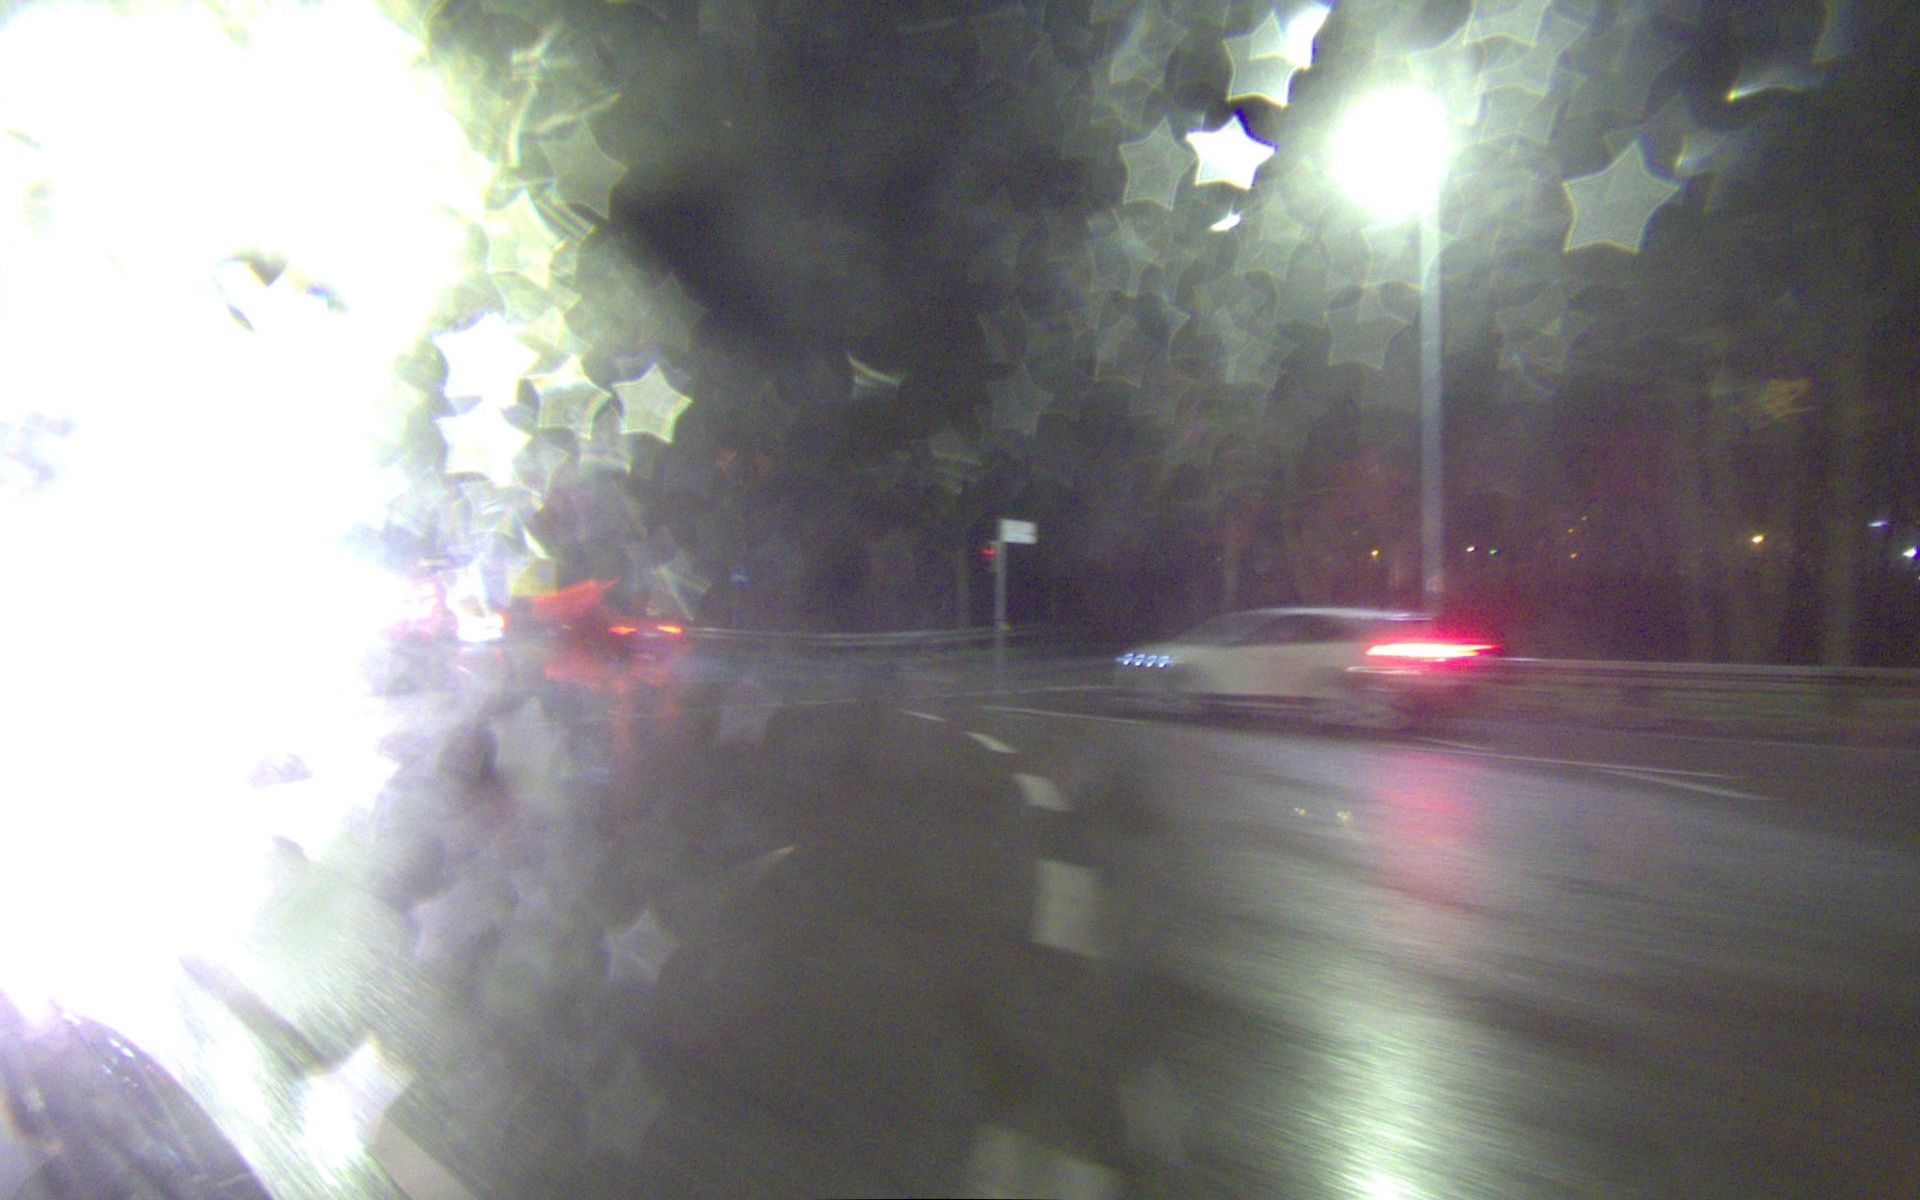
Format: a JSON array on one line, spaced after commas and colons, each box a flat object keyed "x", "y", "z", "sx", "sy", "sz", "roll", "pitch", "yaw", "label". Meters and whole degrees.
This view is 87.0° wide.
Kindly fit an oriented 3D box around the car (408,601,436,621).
[{"x": -42.308, "y": 0.860, "z": 79.655, "sx": 1.710, "sy": 1.507, "sz": 3.954, "roll": 2, "pitch": -1, "yaw": -25, "label": "car"}]

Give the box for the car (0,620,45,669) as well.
[{"x": -32.597, "y": 1.481, "z": 34.079, "sx": 1.714, "sy": 1.428, "sz": 4.153, "roll": -1, "pitch": 1, "yaw": -29, "label": "car"}]

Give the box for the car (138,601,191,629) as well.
[{"x": -48.810, "y": 0.876, "z": 62.192, "sx": 1.966, "sy": 1.610, "sz": 4.405, "roll": 0, "pitch": 1, "yaw": -30, "label": "car"}]

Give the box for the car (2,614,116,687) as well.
[{"x": -21.235, "y": 1.128, "z": 23.969, "sx": 1.581, "sy": 1.436, "sz": 3.398, "roll": -3, "pitch": 3, "yaw": -35, "label": "car"}]

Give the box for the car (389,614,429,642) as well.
[{"x": -30.838, "y": 1.540, "z": 56.542, "sx": 1.765, "sy": 1.468, "sz": 4.591, "roll": 2, "pitch": -2, "yaw": -31, "label": "car"}]

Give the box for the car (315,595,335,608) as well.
[{"x": -86.902, "y": 0.230, "z": 138.619, "sx": 1.965, "sy": 1.691, "sz": 4.013, "roll": -1, "pitch": 1, "yaw": -27, "label": "car"}]

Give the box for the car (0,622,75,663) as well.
[{"x": -39.269, "y": 1.746, "z": 42.790, "sx": 1.966, "sy": 1.610, "sz": 4.405, "roll": -1, "pitch": -1, "yaw": -30, "label": "car"}]

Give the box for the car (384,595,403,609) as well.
[{"x": -66.007, "y": 0.227, "z": 117.919, "sx": 1.822, "sy": 1.583, "sz": 3.518, "roll": 0, "pitch": -1, "yaw": -28, "label": "car"}]

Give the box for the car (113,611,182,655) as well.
[{"x": -30.737, "y": 1.207, "z": 38.368, "sx": 1.580, "sy": 1.436, "sz": 3.399, "roll": -3, "pitch": 3, "yaw": -32, "label": "car"}]

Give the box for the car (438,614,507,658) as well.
[{"x": -17.298, "y": 1.259, "z": 35.833, "sx": 1.544, "sy": 1.444, "sz": 3.502, "roll": -1, "pitch": -1, "yaw": -37, "label": "car"}]

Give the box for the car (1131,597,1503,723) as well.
[{"x": 4.449, "y": 0.744, "z": 13.004, "sx": 4.143, "sy": 1.363, "sz": 1.787, "roll": -2, "pitch": -5, "yaw": 43, "label": "car"}]

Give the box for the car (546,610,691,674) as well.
[{"x": -8.698, "y": 1.029, "z": 25.584, "sx": 1.759, "sy": 1.471, "sz": 4.481, "roll": 0, "pitch": -2, "yaw": -44, "label": "car"}]

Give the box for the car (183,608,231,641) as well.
[{"x": -38.438, "y": 1.230, "z": 51.709, "sx": 1.580, "sy": 1.436, "sz": 3.399, "roll": -3, "pitch": 3, "yaw": -32, "label": "car"}]

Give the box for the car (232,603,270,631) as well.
[{"x": -50.412, "y": 1.162, "z": 72.015, "sx": 1.936, "sy": 1.807, "sz": 4.012, "roll": -1, "pitch": 1, "yaw": -32, "label": "car"}]

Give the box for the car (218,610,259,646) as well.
[{"x": -44.799, "y": 1.679, "z": 62.911, "sx": 1.967, "sy": 2.029, "sz": 4.010, "roll": -1, "pitch": 1, "yaw": -35, "label": "car"}]
